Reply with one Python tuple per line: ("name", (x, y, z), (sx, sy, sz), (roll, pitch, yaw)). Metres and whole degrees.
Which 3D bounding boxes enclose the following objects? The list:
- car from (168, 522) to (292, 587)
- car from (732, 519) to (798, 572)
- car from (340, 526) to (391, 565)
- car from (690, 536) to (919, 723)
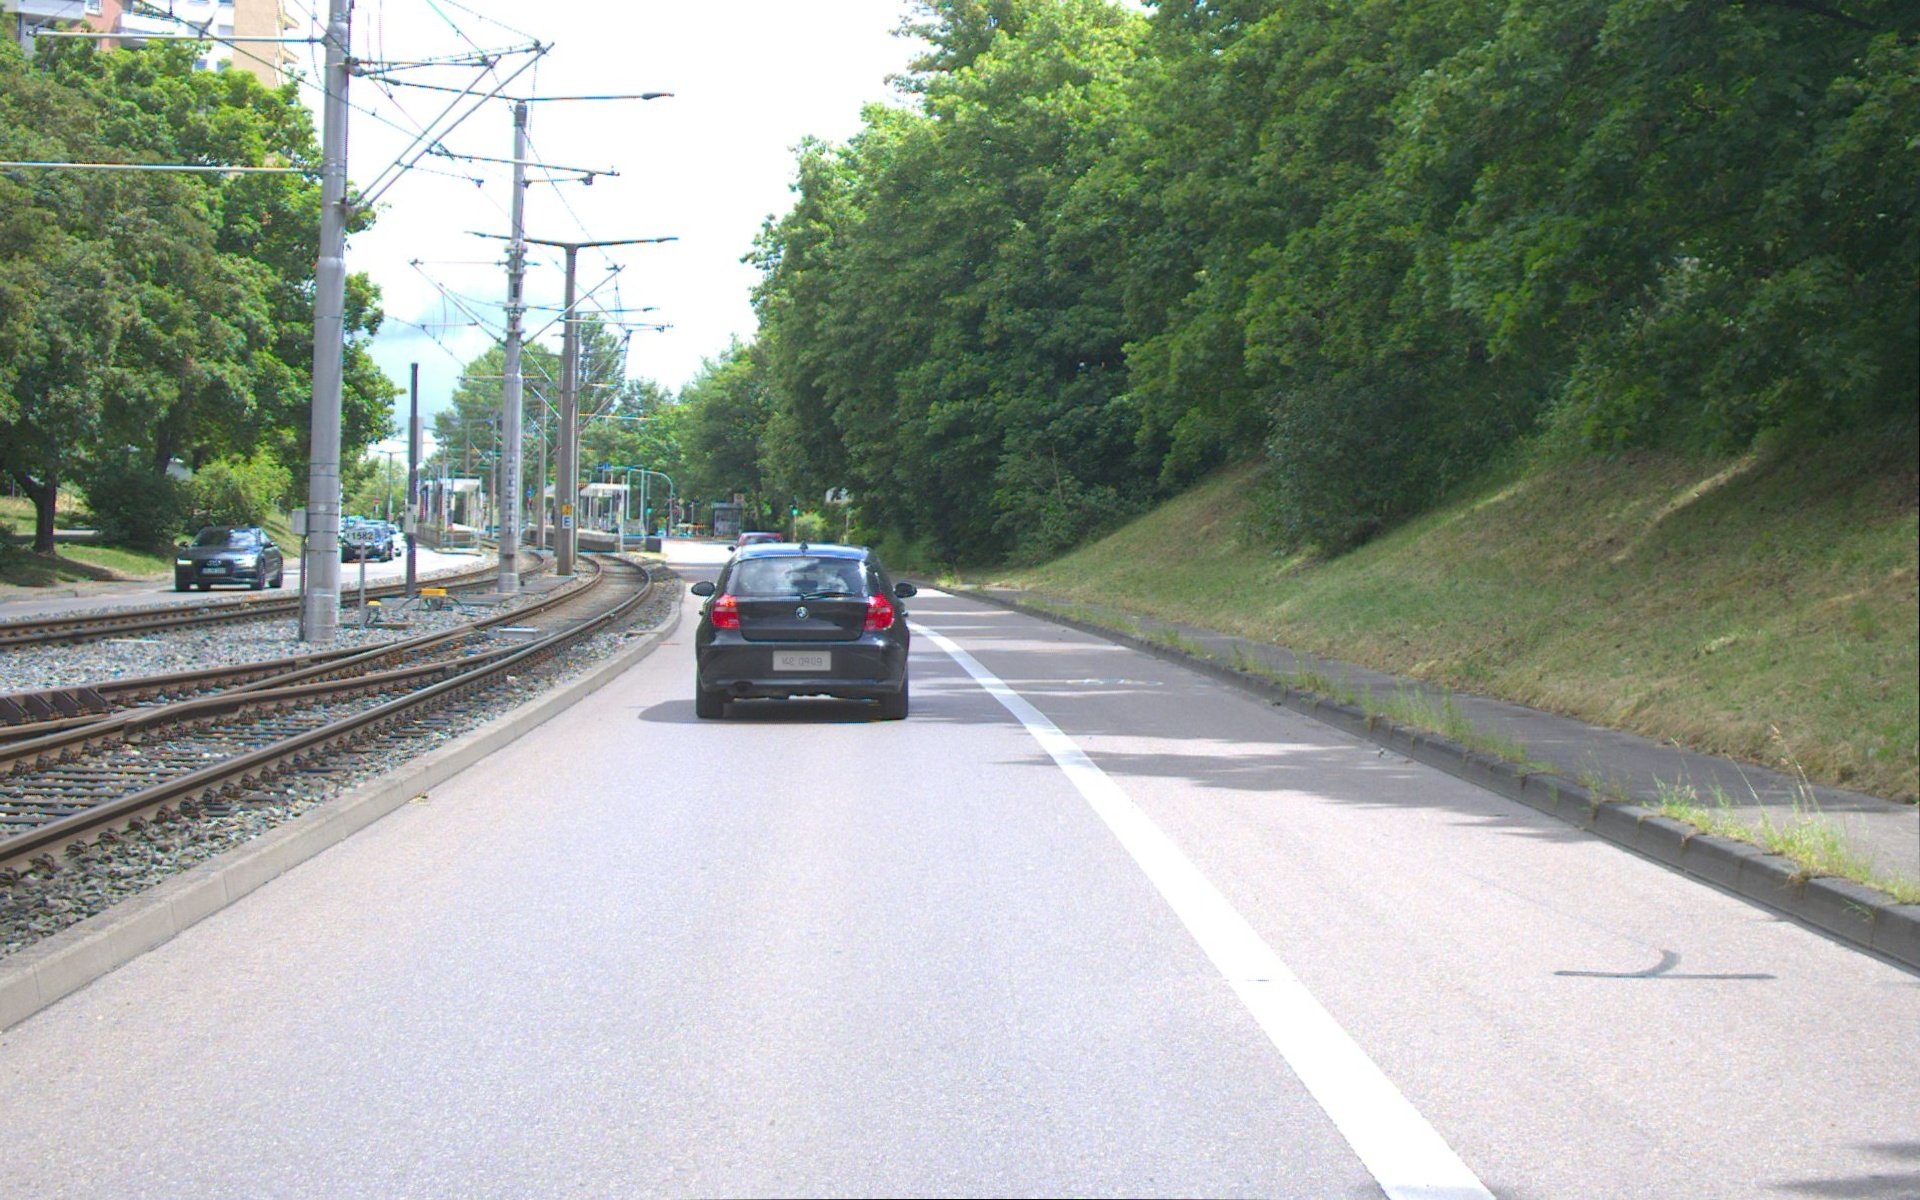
("car", (-16.297, -1.031, 76.954), (1.835, 1.386, 4.862), (-1, 1, -1))
("car", (-5.616, -1.562, 98.821), (1.781, 1.454, 3.922), (1, 1, -5))
("car", (-23.271, -2.139, 134.589), (1.774, 1.493, 3.998), (1, 1, -7))
("car", (-1.358, 0.193, 28.756), (1.781, 1.454, 3.922), (0, 1, -4))
